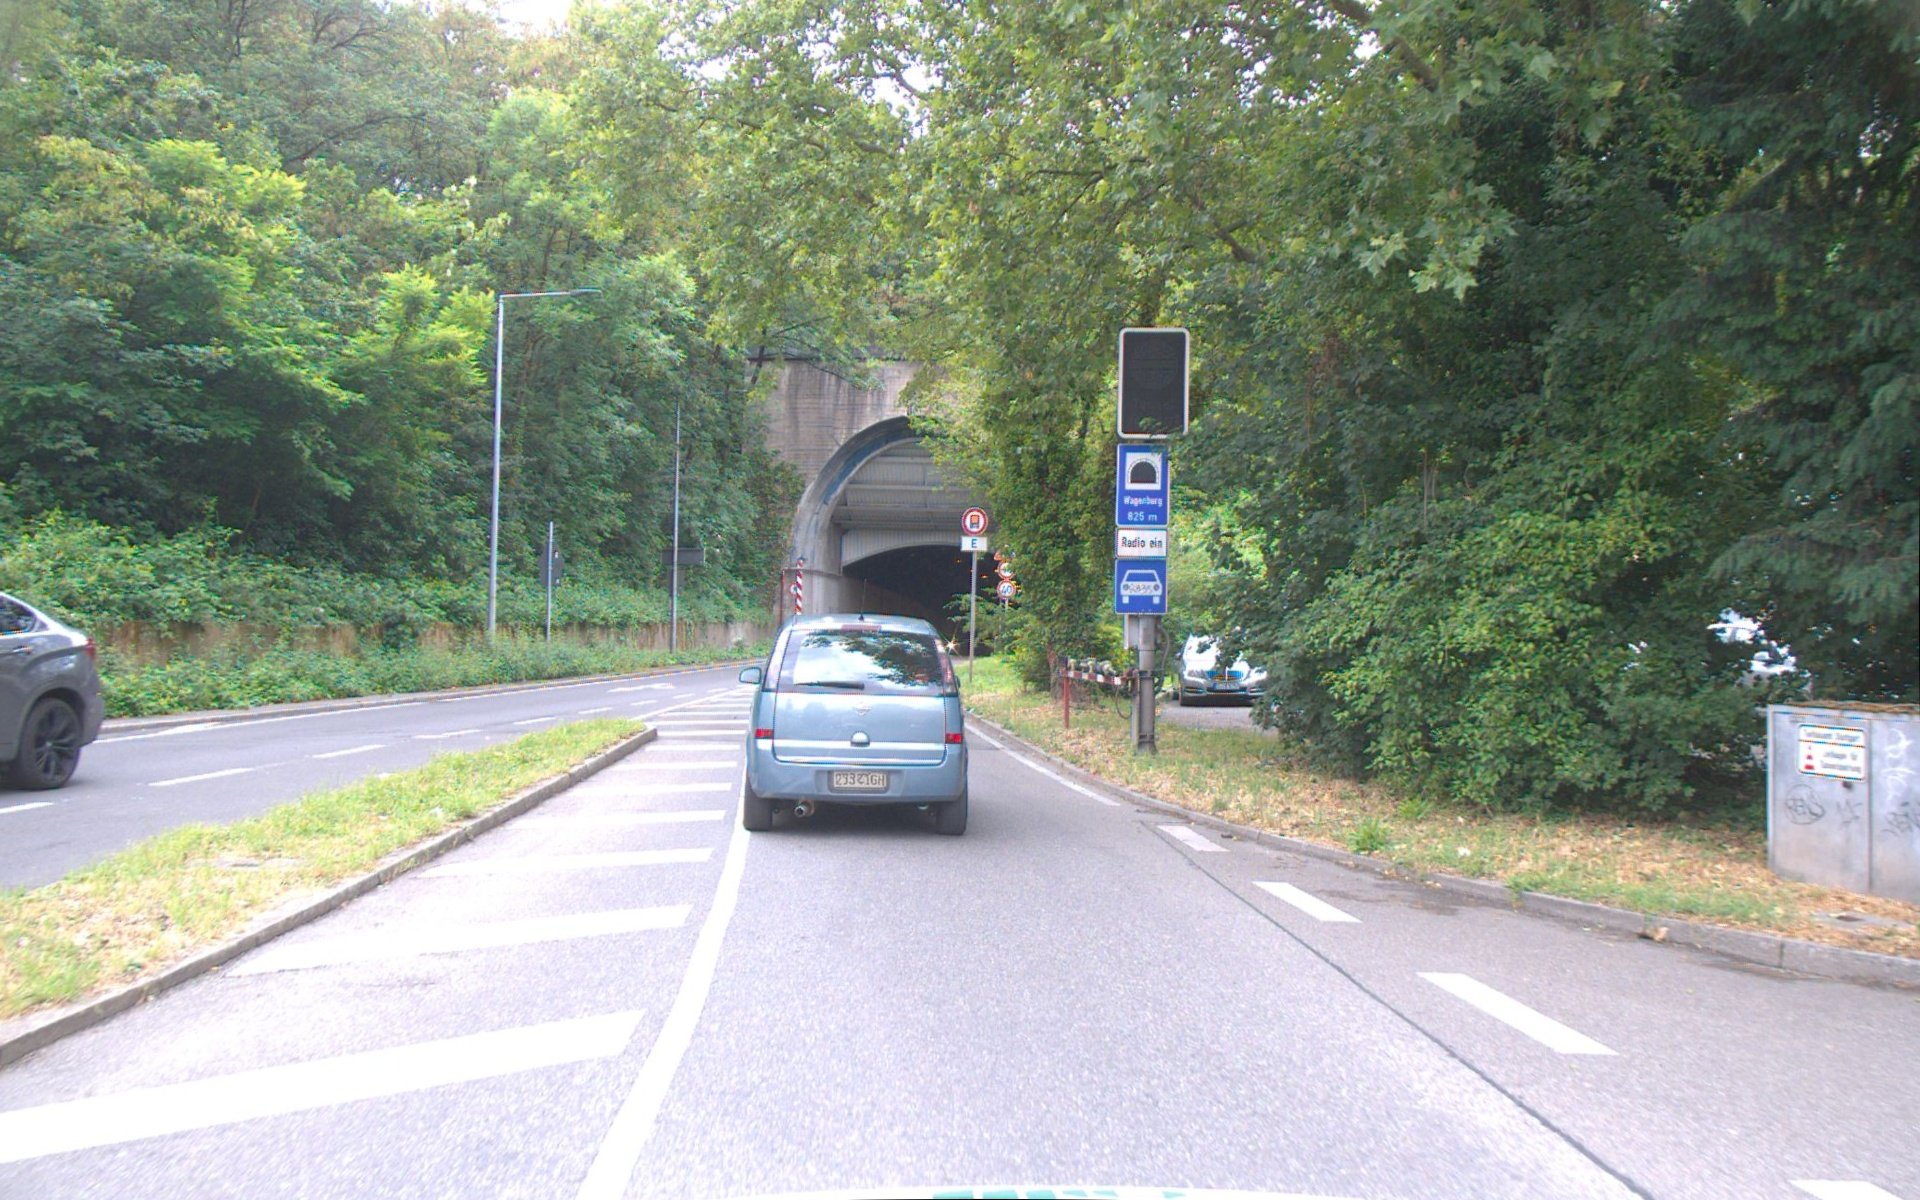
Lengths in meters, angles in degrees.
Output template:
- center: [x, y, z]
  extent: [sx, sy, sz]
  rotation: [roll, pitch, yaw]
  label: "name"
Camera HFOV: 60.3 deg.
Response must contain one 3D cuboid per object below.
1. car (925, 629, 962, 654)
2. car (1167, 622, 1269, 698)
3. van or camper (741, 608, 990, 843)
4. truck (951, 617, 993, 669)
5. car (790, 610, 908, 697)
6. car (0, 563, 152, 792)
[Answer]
- center: [-1.006, 2.584, 102.757]
  extent: [1.828, 1.395, 4.459]
  rotation: [-1, 0, 6]
  label: "car"
- center: [5.469, 1.234, 35.575]
  extent: [1.747, 1.467, 5.065]
  rotation: [0, 0, 4]
  label: "car"
- center: [-0.822, 0.895, 13.355]
  extent: [1.702, 1.605, 3.641]
  rotation: [2, -1, -6]
  label: "van or camper"
- center: [0.952, 3.231, 125.656]
  extent: [2.619, 3.731, 7.521]
  rotation: [1, -1, 5]
  label: "truck"
- center: [-2.208, 1.042, 33.982]
  extent: [1.952, 1.682, 4.001]
  rotation: [0, 0, 3]
  label: "car"
- center: [-8.176, 0.573, 11.999]
  extent: [1.830, 1.728, 4.939]
  rotation: [1, 0, 5]
  label: "car"
